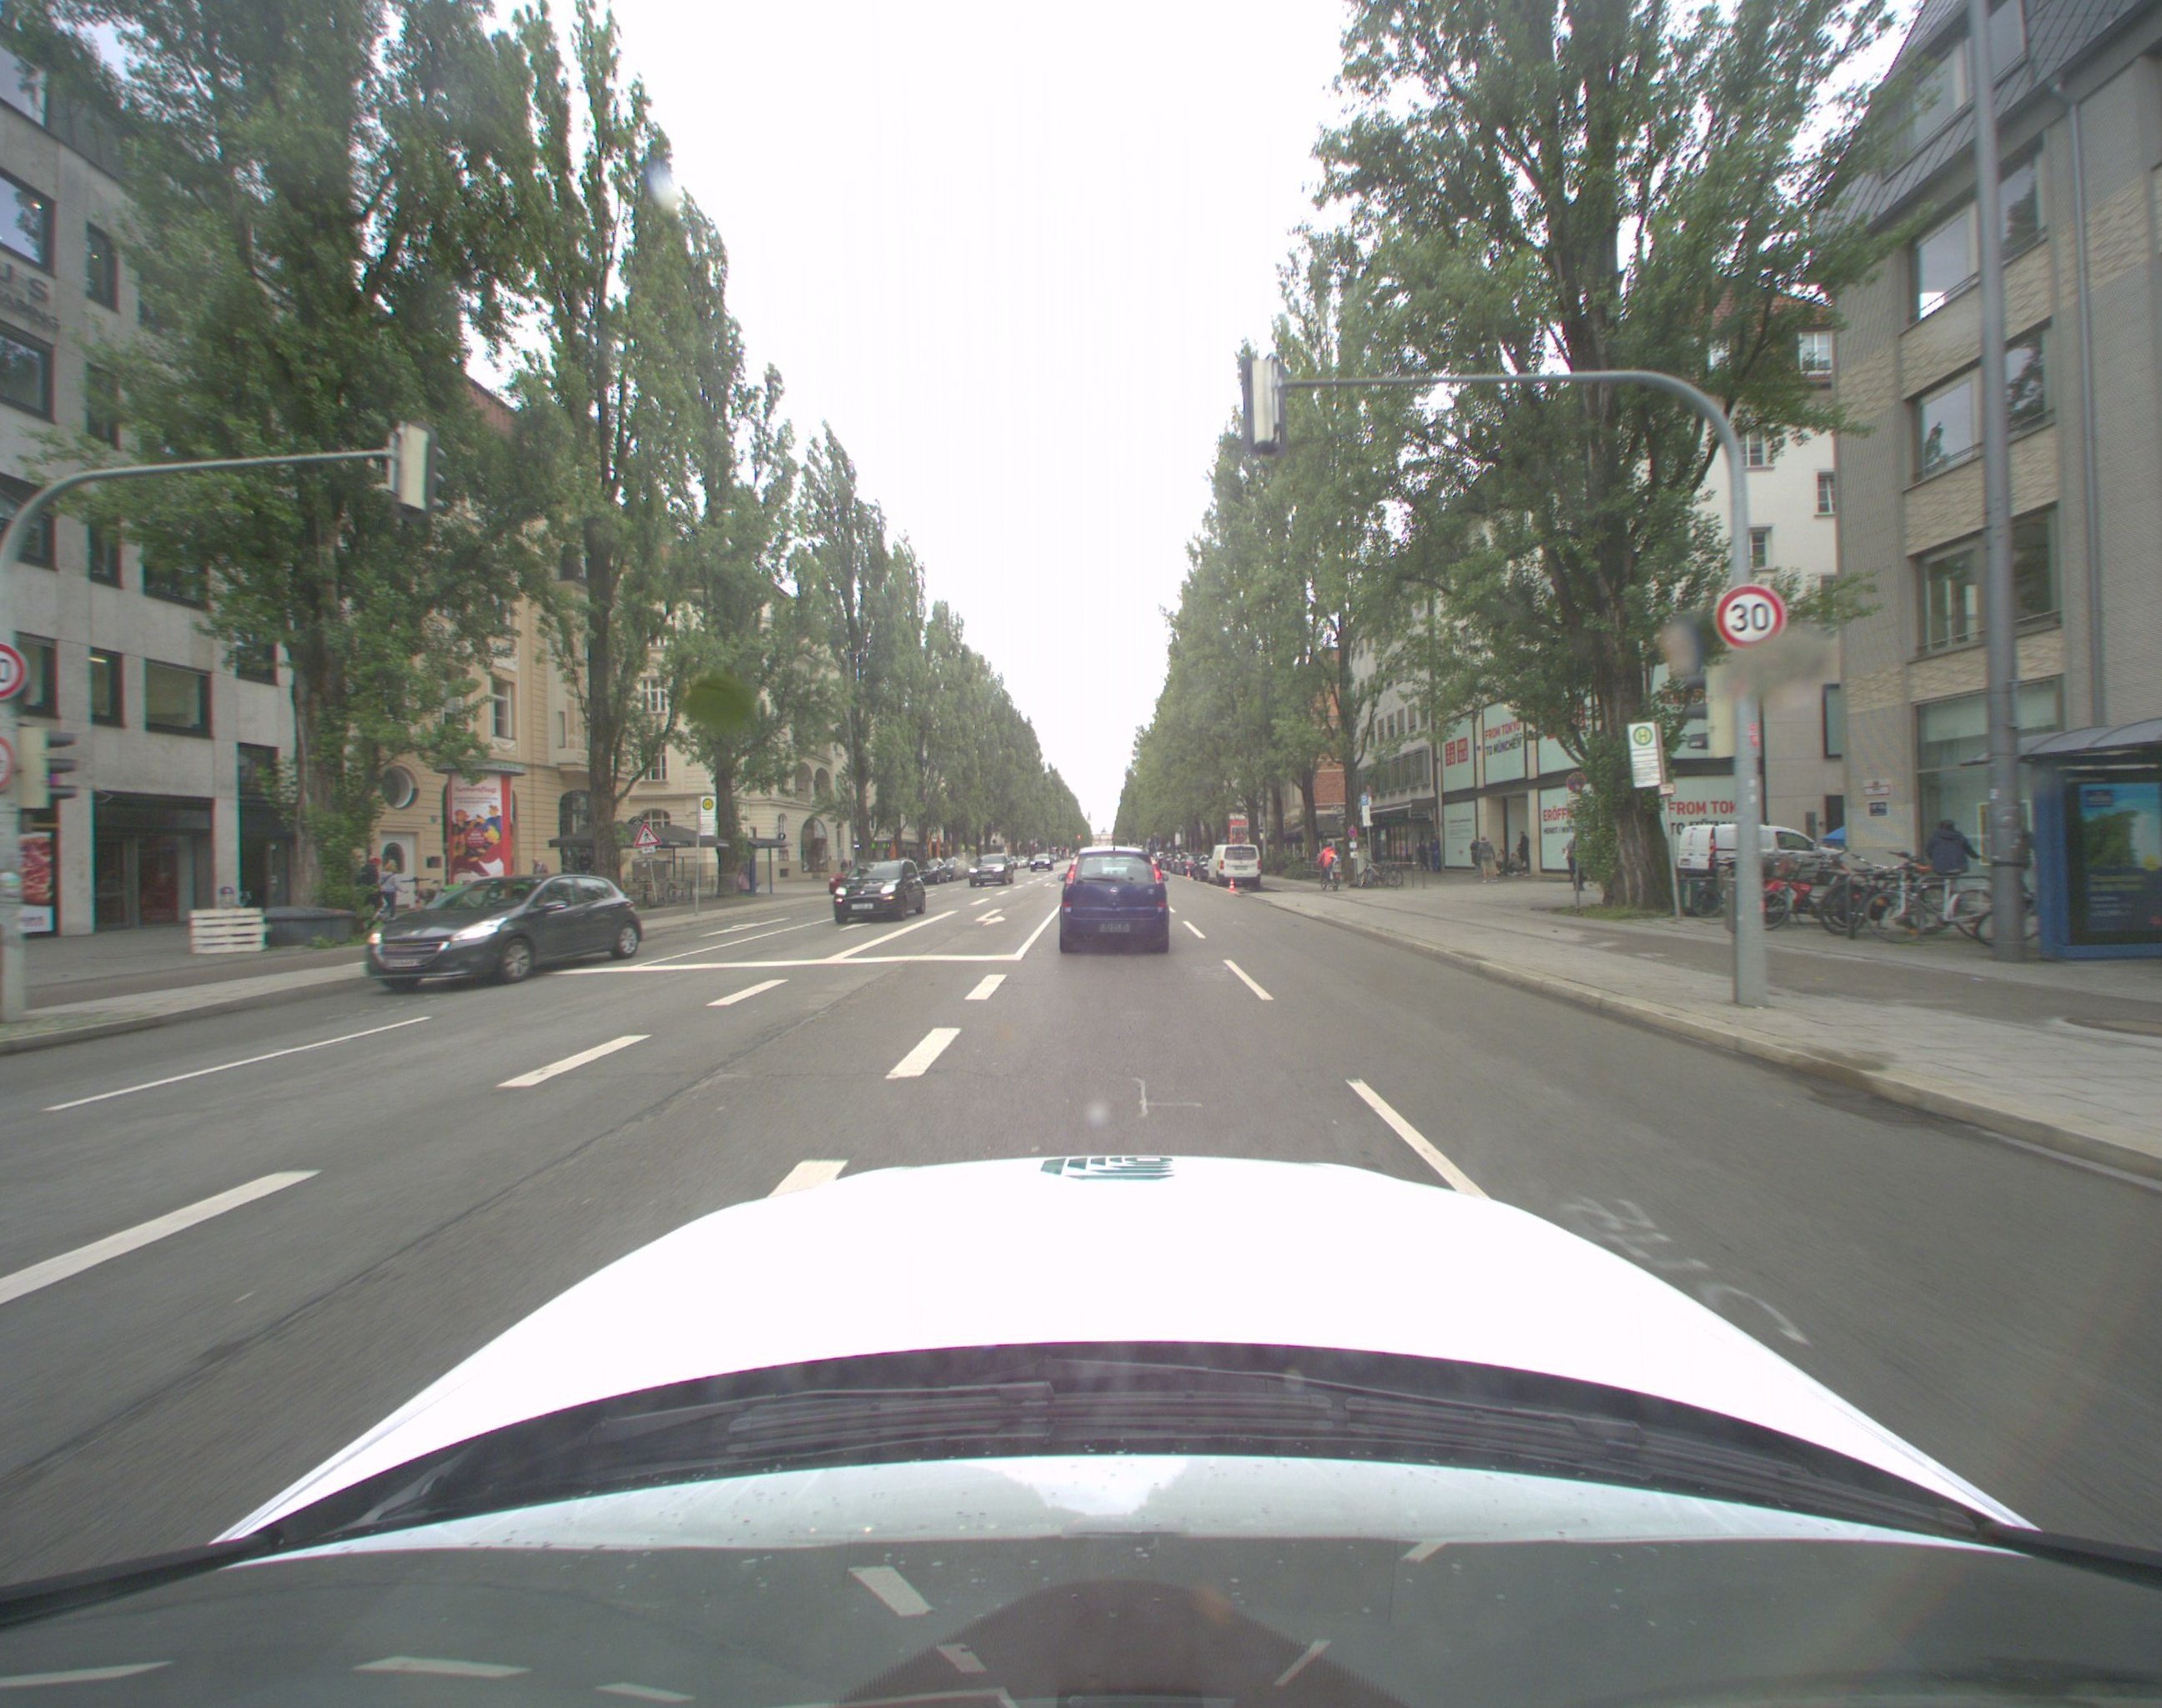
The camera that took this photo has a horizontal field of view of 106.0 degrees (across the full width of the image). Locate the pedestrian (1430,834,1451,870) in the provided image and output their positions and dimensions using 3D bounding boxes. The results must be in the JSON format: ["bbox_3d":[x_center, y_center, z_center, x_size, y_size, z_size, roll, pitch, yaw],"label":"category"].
[{"bbox_3d":[18.309,-0.106,41.490,0.861,1.829,0.841,-1,0,29],"label":"pedestrian"}]

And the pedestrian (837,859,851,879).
[{"bbox_3d":[-18.302,1.155,62.958,0.766,1.537,0.805,-1,0,1],"label":"pedestrian"}]

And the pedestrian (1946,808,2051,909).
[{"bbox_3d":[16.159,0.072,14.369,0.747,1.718,0.963,-1,0,3],"label":"pedestrian"}]

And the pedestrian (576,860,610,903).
[{"bbox_3d":[-20.235,1.126,33.778,0.901,1.744,0.822,0,-1,6],"label":"pedestrian"}]

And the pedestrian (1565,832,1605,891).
[{"bbox_3d":[14.554,0.220,23.527,0.557,1.666,0.930,-1,0,3],"label":"pedestrian"}]

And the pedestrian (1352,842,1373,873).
[{"bbox_3d":[16.732,0.208,48.419,0.823,1.841,1.100,-2,0,1],"label":"pedestrian"}]

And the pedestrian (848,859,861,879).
[{"bbox_3d":[-17.425,1.147,62.614,0.766,1.537,0.805,-1,0,1],"label":"pedestrian"}]

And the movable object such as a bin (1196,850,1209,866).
[{"bbox_3d":[13.061,0.443,87.698,1.030,1.703,1.585,-2,0,-2],"label":"movable object such as a bin"}]

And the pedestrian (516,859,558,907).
[{"bbox_3d":[-20.112,1.072,30.126,0.840,1.744,0.955,0,-1,2],"label":"pedestrian"}]

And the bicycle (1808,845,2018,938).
[{"bbox_3d":[11.886,0.526,11.677,2.335,1.252,0.633,-1,0,1],"label":"bicycle"}]

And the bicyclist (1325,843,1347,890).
[{"bbox_3d":[8.948,0.438,28.553,0.619,1.588,0.391,-2,0,0],"label":"bicyclist"}]

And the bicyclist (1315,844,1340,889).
[{"bbox_3d":[8.967,0.446,29.631,0.619,1.588,0.753,-2,0,1],"label":"bicyclist"}]

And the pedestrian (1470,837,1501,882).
[{"bbox_3d":[15.319,0.189,30.839,0.815,1.673,0.993,-2,0,38],"label":"pedestrian"}]

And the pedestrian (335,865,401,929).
[{"bbox_3d":[-17.915,1.052,20.479,0.748,1.567,0.989,0,-1,1],"label":"pedestrian"}]

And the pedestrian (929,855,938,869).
[{"bbox_3d":[-18.501,1.008,102.431,0.848,1.744,1.148,-1,0,2],"label":"pedestrian"}]

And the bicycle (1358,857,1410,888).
[{"bbox_3d":[11.103,0.681,29.815,1.757,1.044,0.482,-2,0,-10],"label":"bicycle"}]

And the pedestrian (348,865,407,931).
[{"bbox_3d":[-19.459,1.194,22.548,0.797,1.787,0.912,0,0,2],"label":"pedestrian"}]

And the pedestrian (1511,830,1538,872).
[{"bbox_3d":[18.906,-0.135,34.713,0.679,1.764,0.868,-1,0,4],"label":"pedestrian"}]

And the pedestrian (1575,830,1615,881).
[{"bbox_3d":[17.748,0.040,28.123,0.747,1.718,0.963,-1,0,2],"label":"pedestrian"}]

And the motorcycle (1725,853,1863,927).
[{"bbox_3d":[11.481,0.573,13.143,1.717,1.140,0.510,-2,0,2],"label":"motorcycle"}]

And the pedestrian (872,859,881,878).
[{"bbox_3d":[-18.294,1.294,72.862,0.623,1.721,0.827,-2,0,1],"label":"pedestrian"}]

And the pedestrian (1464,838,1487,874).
[{"bbox_3d":[17.779,0.086,36.717,0.667,1.609,0.829,-2,0,4],"label":"pedestrian"}]

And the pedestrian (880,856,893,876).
[{"bbox_3d":[-16.838,1.016,70.529,0.848,1.744,1.148,-1,0,2],"label":"pedestrian"}]

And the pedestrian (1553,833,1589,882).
[{"bbox_3d":[16.865,0.117,28.071,0.649,1.663,0.963,-1,0,2],"label":"pedestrian"}]

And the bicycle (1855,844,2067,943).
[{"bbox_3d":[11.890,0.525,11.037,2.307,1.252,0.477,-1,0,1],"label":"bicycle"}]

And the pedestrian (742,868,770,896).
[{"bbox_3d":[-15.162,1.285,38.013,0.956,1.256,0.758,-1,0,4],"label":"pedestrian"}]

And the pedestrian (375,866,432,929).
[{"bbox_3d":[-18.677,1.185,22.470,0.729,1.681,0.978,0,0,1],"label":"pedestrian"}]

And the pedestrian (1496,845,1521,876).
[{"bbox_3d":[17.712,0.251,33.773,0.667,1.234,0.685,-2,1,3],"label":"pedestrian"}]

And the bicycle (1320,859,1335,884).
[{"bbox_3d":[10.798,0.758,35.715,0.362,1.038,1.735,-1,0,9],"label":"bicycle"}]

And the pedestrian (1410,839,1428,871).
[{"bbox_3d":[17.561,0.056,42.341,0.666,1.609,0.773,0,-1,9],"label":"pedestrian"}]

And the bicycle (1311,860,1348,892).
[{"bbox_3d":[8.971,0.762,29.479,0.624,1.087,2.264,-2,0,1],"label":"bicycle"}]

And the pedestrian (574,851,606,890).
[{"bbox_3d":[-22.199,0.746,36.820,0.901,1.744,0.822,-1,0,6],"label":"pedestrian"}]

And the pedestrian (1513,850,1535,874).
[{"bbox_3d":[18.392,0.328,33.835,0.568,0.969,0.672,-1,0,3],"label":"pedestrian"}]

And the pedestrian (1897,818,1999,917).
[{"bbox_3d":[15.366,0.231,14.460,0.747,1.677,0.963,-2,0,3],"label":"pedestrian"}]

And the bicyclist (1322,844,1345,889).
[{"bbox_3d":[8.951,0.440,28.875,0.619,1.588,0.481,-2,0,1],"label":"bicyclist"}]
